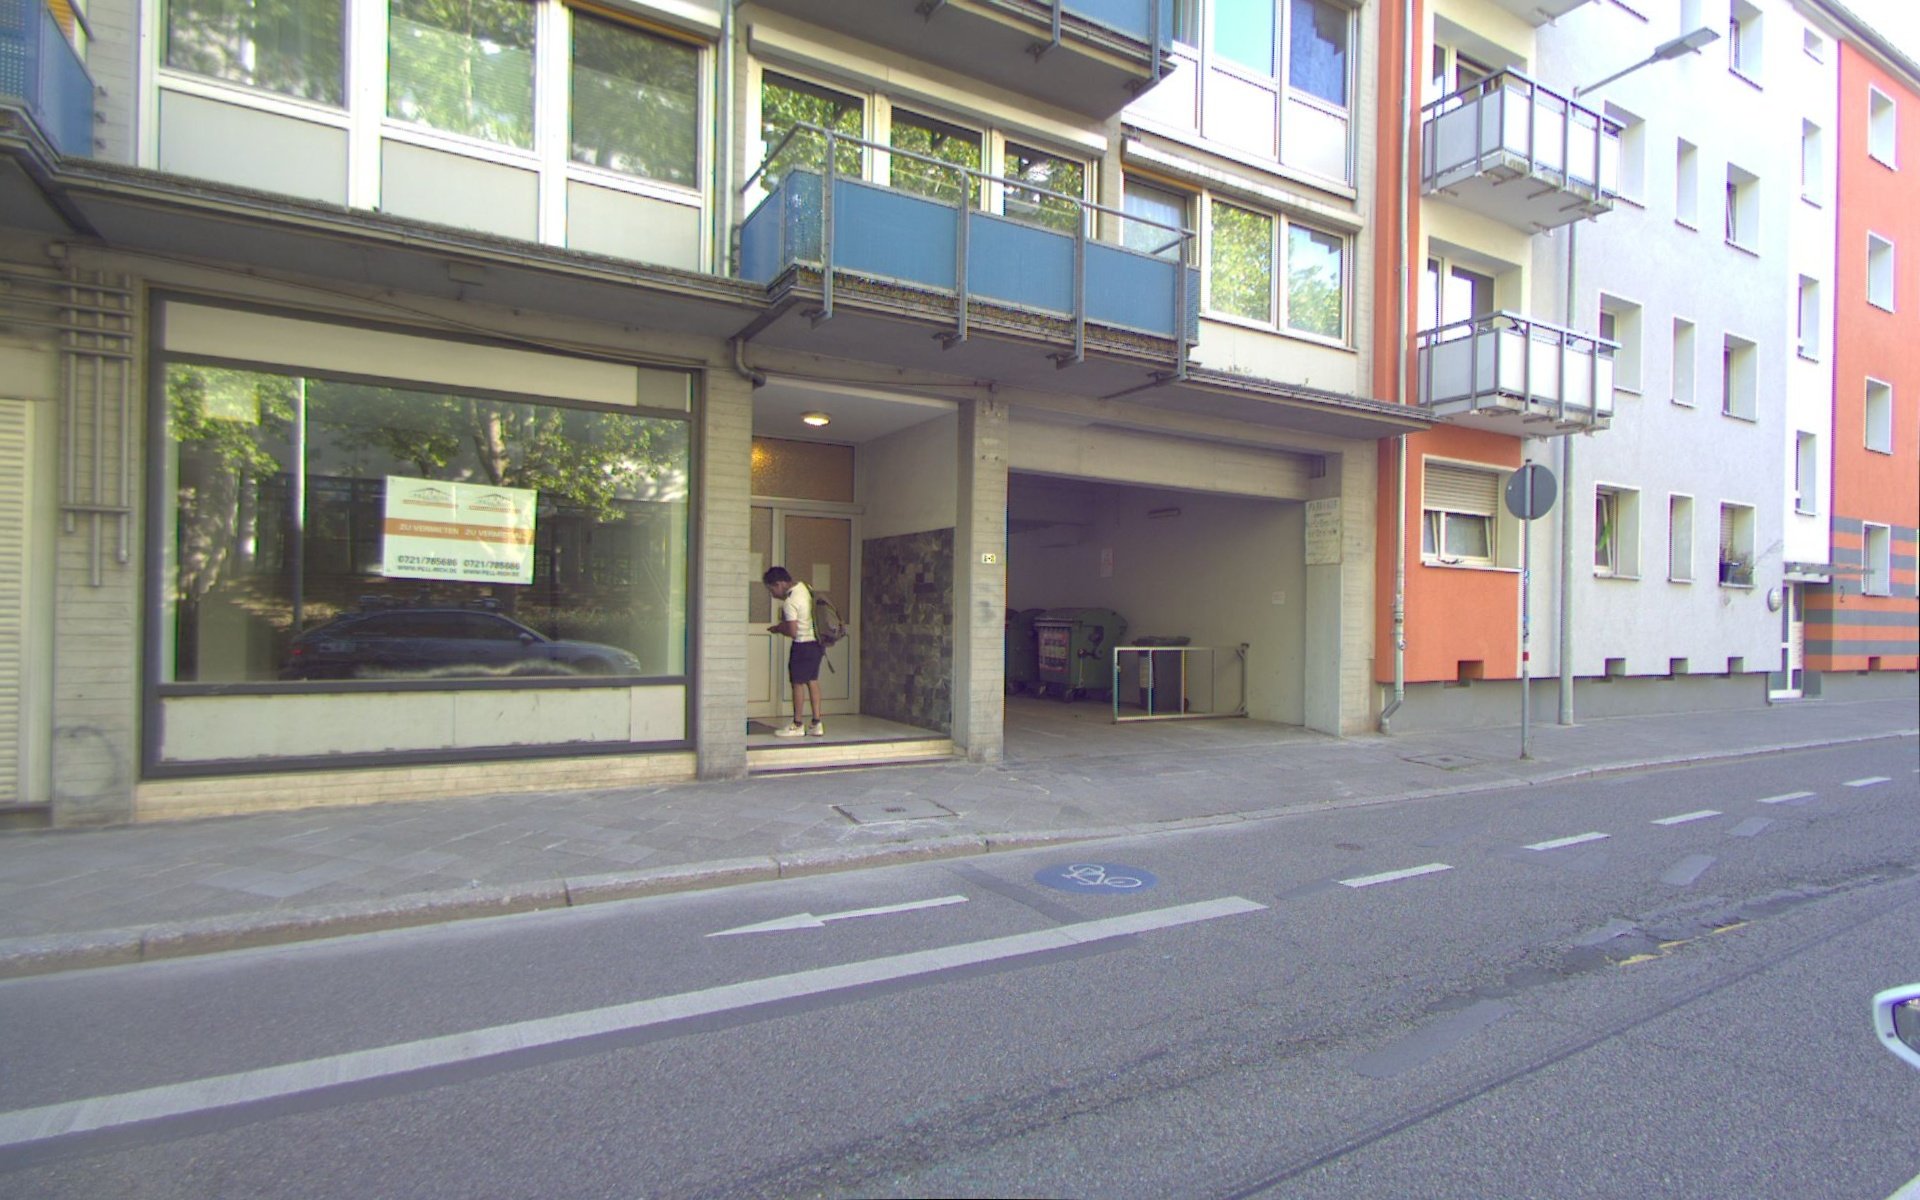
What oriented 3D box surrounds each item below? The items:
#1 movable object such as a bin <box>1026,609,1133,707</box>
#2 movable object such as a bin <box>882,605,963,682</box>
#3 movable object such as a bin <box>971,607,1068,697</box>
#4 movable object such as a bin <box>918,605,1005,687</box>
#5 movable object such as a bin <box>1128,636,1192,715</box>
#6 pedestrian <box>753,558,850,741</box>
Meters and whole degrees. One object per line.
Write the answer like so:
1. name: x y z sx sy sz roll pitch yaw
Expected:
1. movable object such as a bin: 1.866 0.881 15.807 1.120 1.444 1.268 2 0 -28
2. movable object such as a bin: -0.751 0.844 19.784 1.120 1.444 1.268 2 0 -28
3. movable object such as a bin: 0.999 0.870 17.148 1.120 1.444 1.268 2 0 -28
4. movable object such as a bin: 0.020 0.840 18.692 1.120 1.444 1.268 2 0 -28
5. movable object such as a bin: 2.878 1.079 14.483 0.713 1.094 0.533 2 0 -29
6. pedestrian: -1.510 0.458 9.486 0.822 1.639 0.792 2 0 -12
